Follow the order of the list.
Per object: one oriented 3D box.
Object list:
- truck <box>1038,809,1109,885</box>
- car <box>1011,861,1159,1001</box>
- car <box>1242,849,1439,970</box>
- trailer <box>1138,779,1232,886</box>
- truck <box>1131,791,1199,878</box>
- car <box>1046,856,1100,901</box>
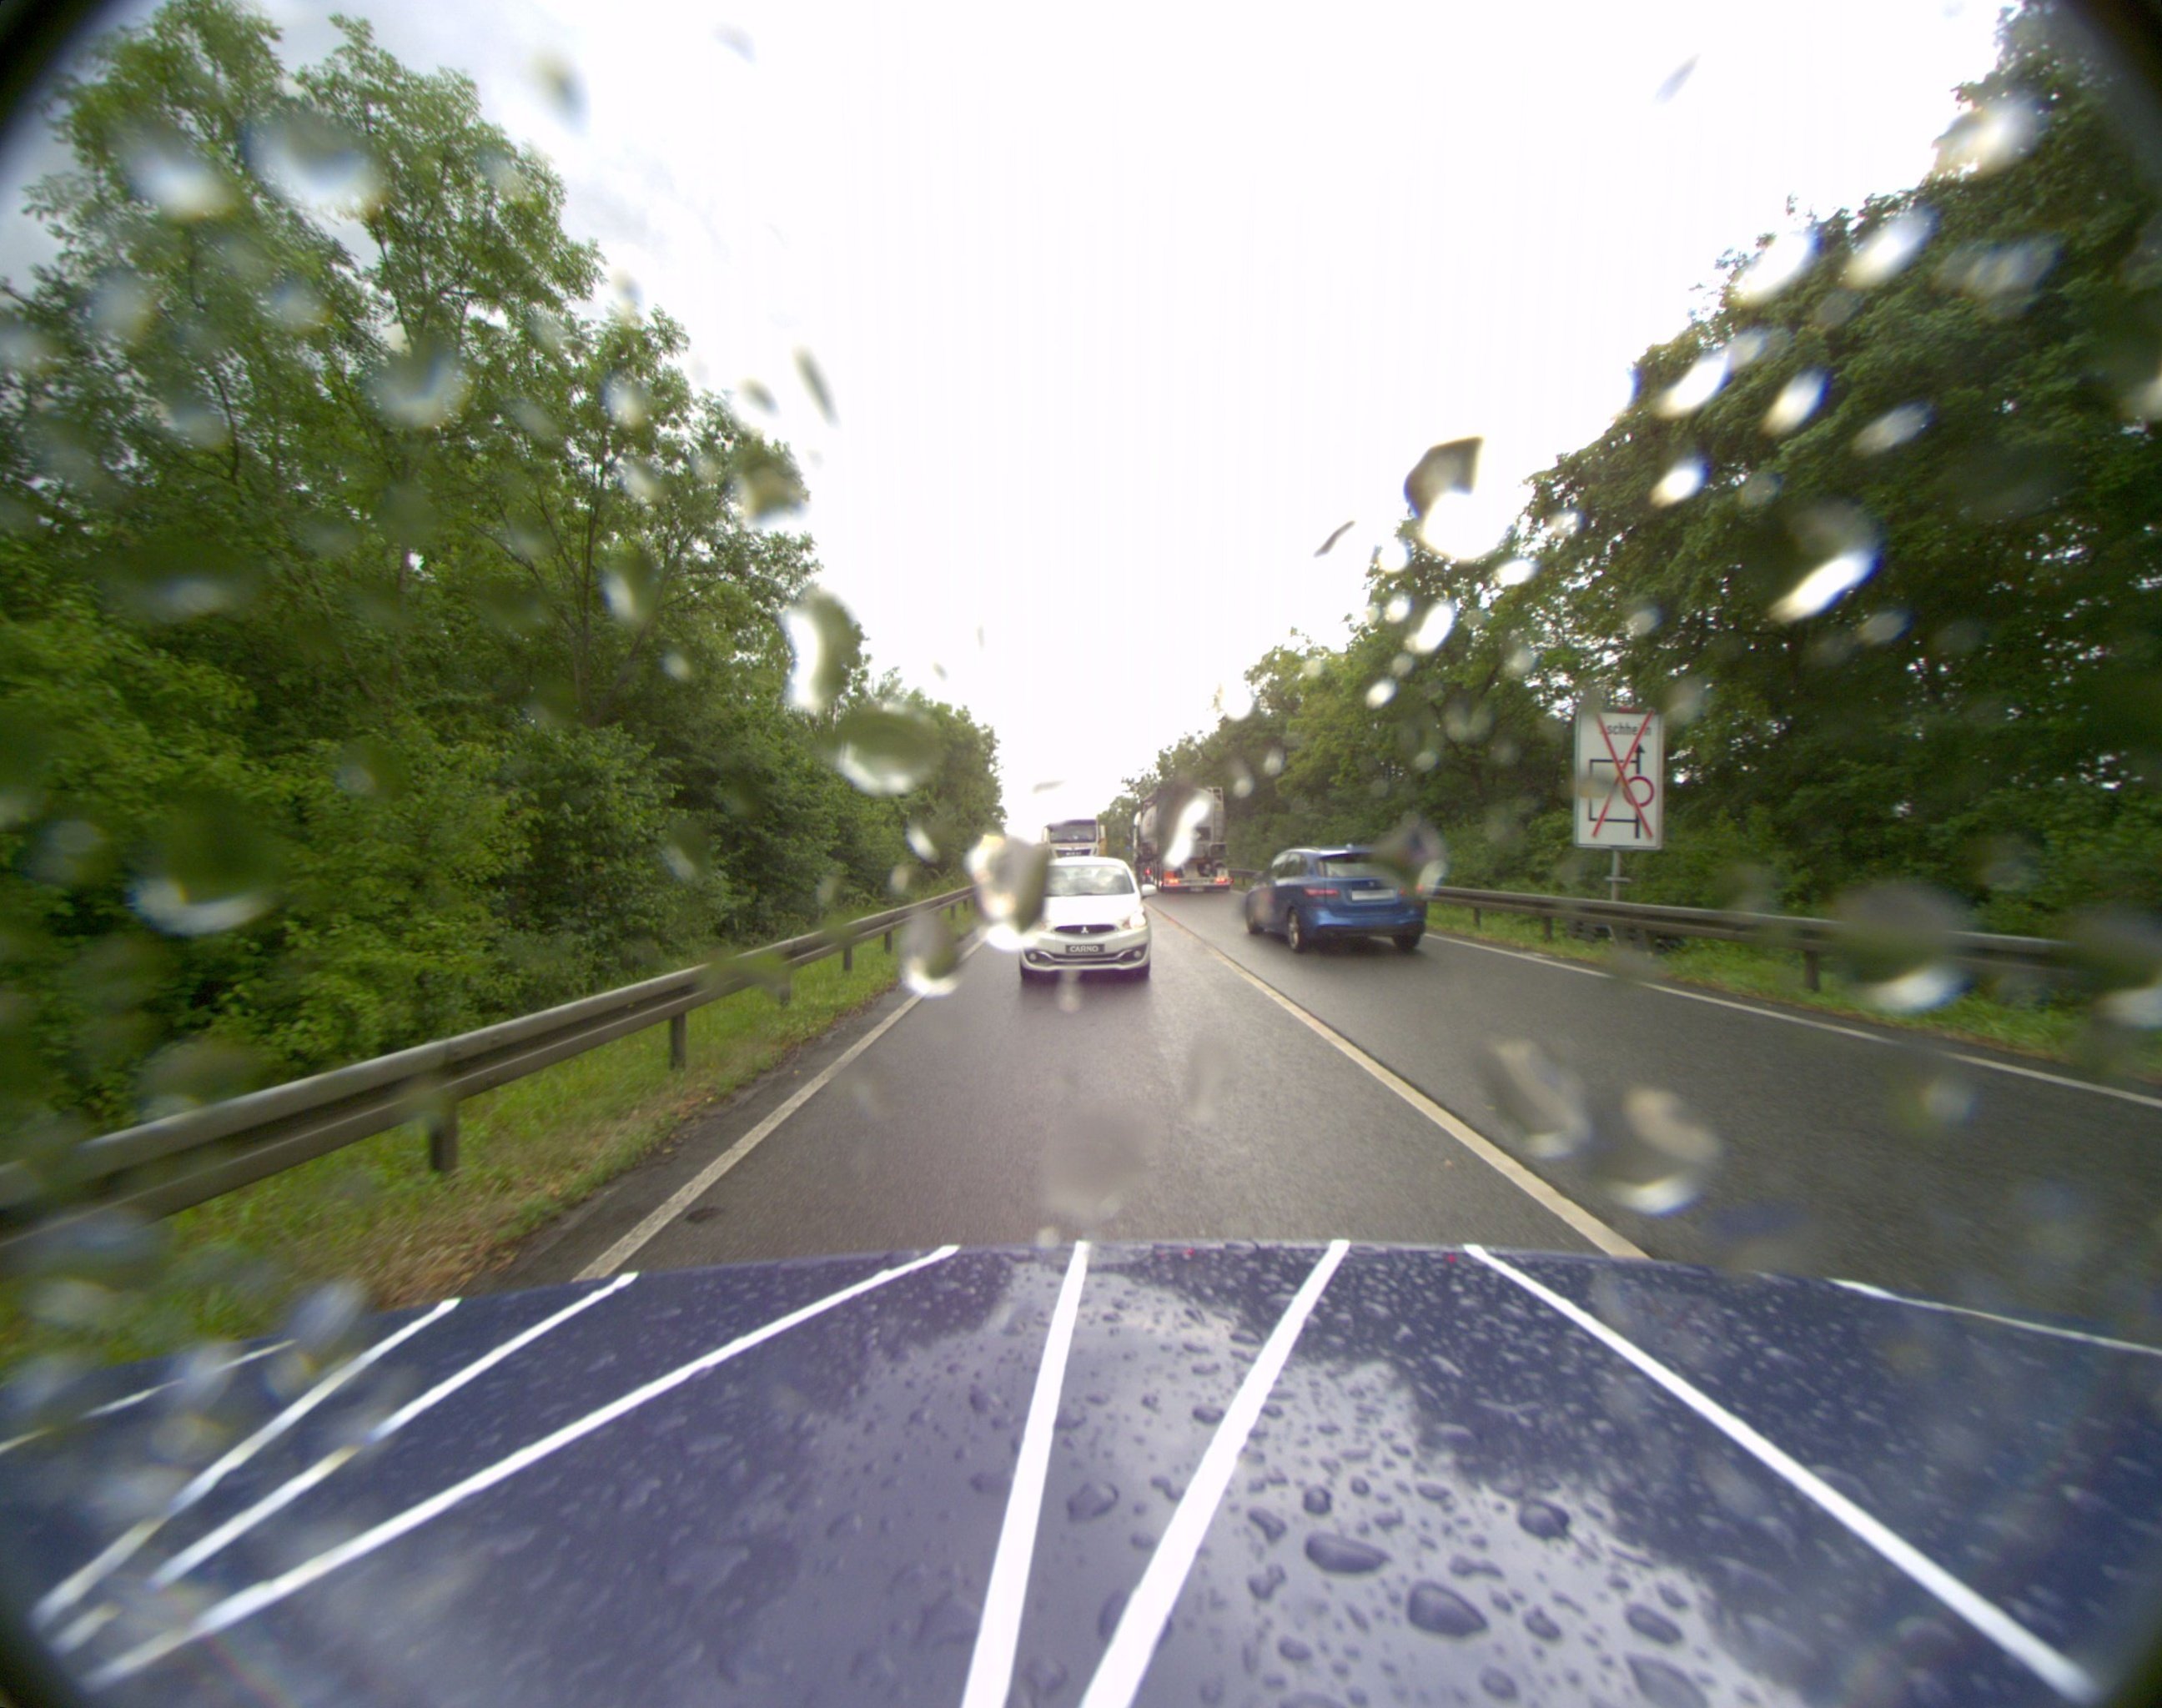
[{"bbox_3d":[-0.528,-0.366,39.451,3.137,3.364,9.279,-2,1,-3],"label":"truck"},{"bbox_3d":[0.020,0.886,10.605,1.610,1.435,4.208,-2,0,-1],"label":"car"},{"bbox_3d":[3.858,0.726,12.044,1.712,1.507,3.911,-2,1,-1],"label":"car"},{"bbox_3d":[4.067,-0.830,31.339,2.543,3.803,7.789,-2,1,-1],"label":"trailer"},{"bbox_3d":[3.957,-0.909,36.868,2.543,3.803,5.243,-2,1,-1],"label":"truck"},{"bbox_3d":[-0.213,0.823,27.260,1.640,1.413,4.492,-2,0,2],"label":"car"}]
